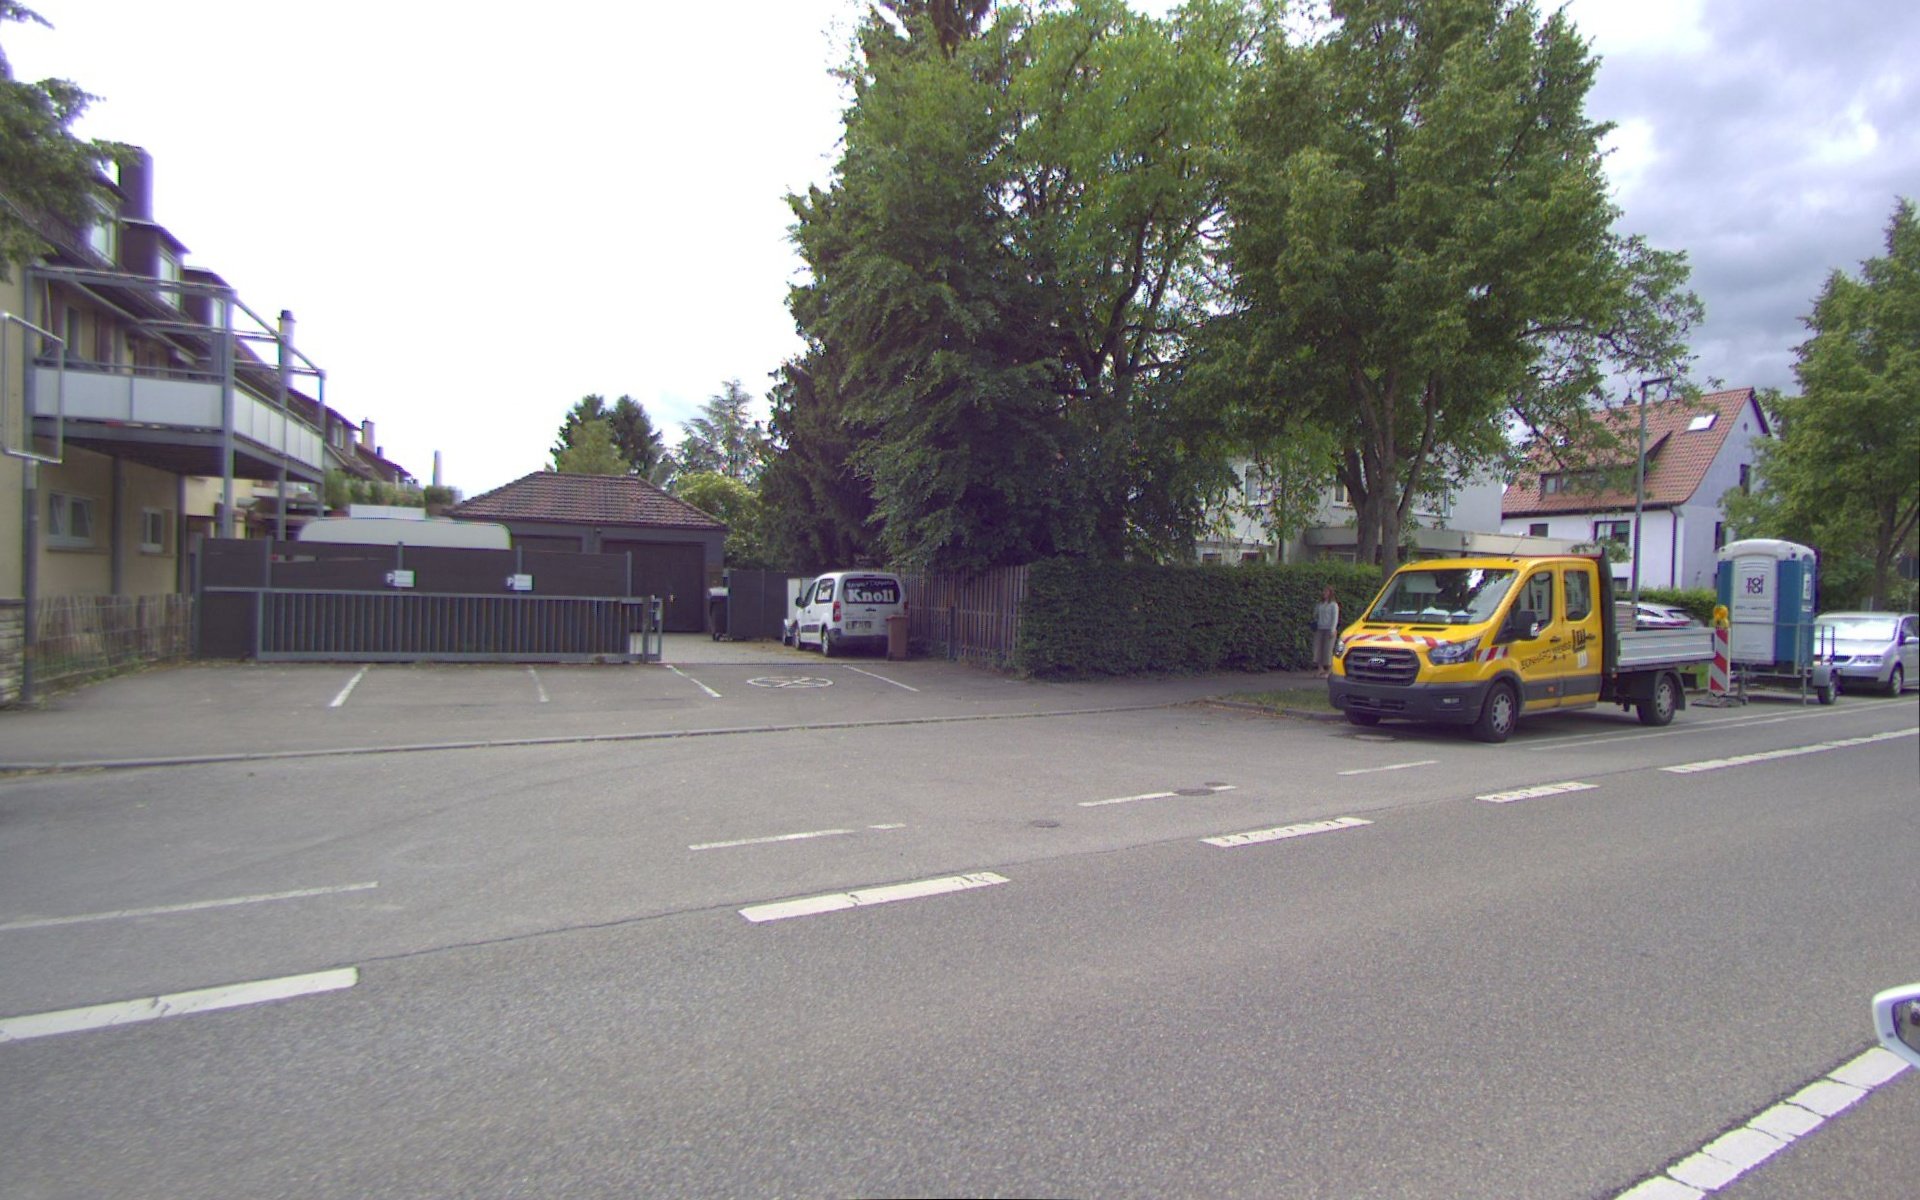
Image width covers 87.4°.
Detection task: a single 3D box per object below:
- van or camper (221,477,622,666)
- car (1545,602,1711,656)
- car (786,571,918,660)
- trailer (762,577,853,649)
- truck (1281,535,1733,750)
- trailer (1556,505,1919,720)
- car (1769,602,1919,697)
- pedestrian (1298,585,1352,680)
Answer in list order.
[{"bbox_3d":[-9.175,-0.402,17.850,5.851,2.922,2.591,1,0,-22],"label":"van or camper"},{"bbox_3d":[21.332,0.876,32.255,1.776,1.452,4.066,0,2,-25],"label":"car"},{"bbox_3d":[-2.525,0.326,22.554,1.894,1.818,3.978,1,0,-23],"label":"car"},{"bbox_3d":[-4.040,0.324,26.281,1.640,1.743,3.139,1,0,-23],"label":"trailer"},{"bbox_3d":[7.424,0.495,13.390,6.385,2.317,2.284,1,0,-30],"label":"truck"},{"bbox_3d":[13.139,0.213,16.792,6.926,3.002,2.361,1,0,-30],"label":"trailer"},{"bbox_3d":[18.270,0.964,20.387,4.181,1.706,1.679,2,0,-34],"label":"car"},{"bbox_3d":[6.913,0.599,19.029,0.713,1.765,0.638,1,1,-29],"label":"pedestrian"}]
